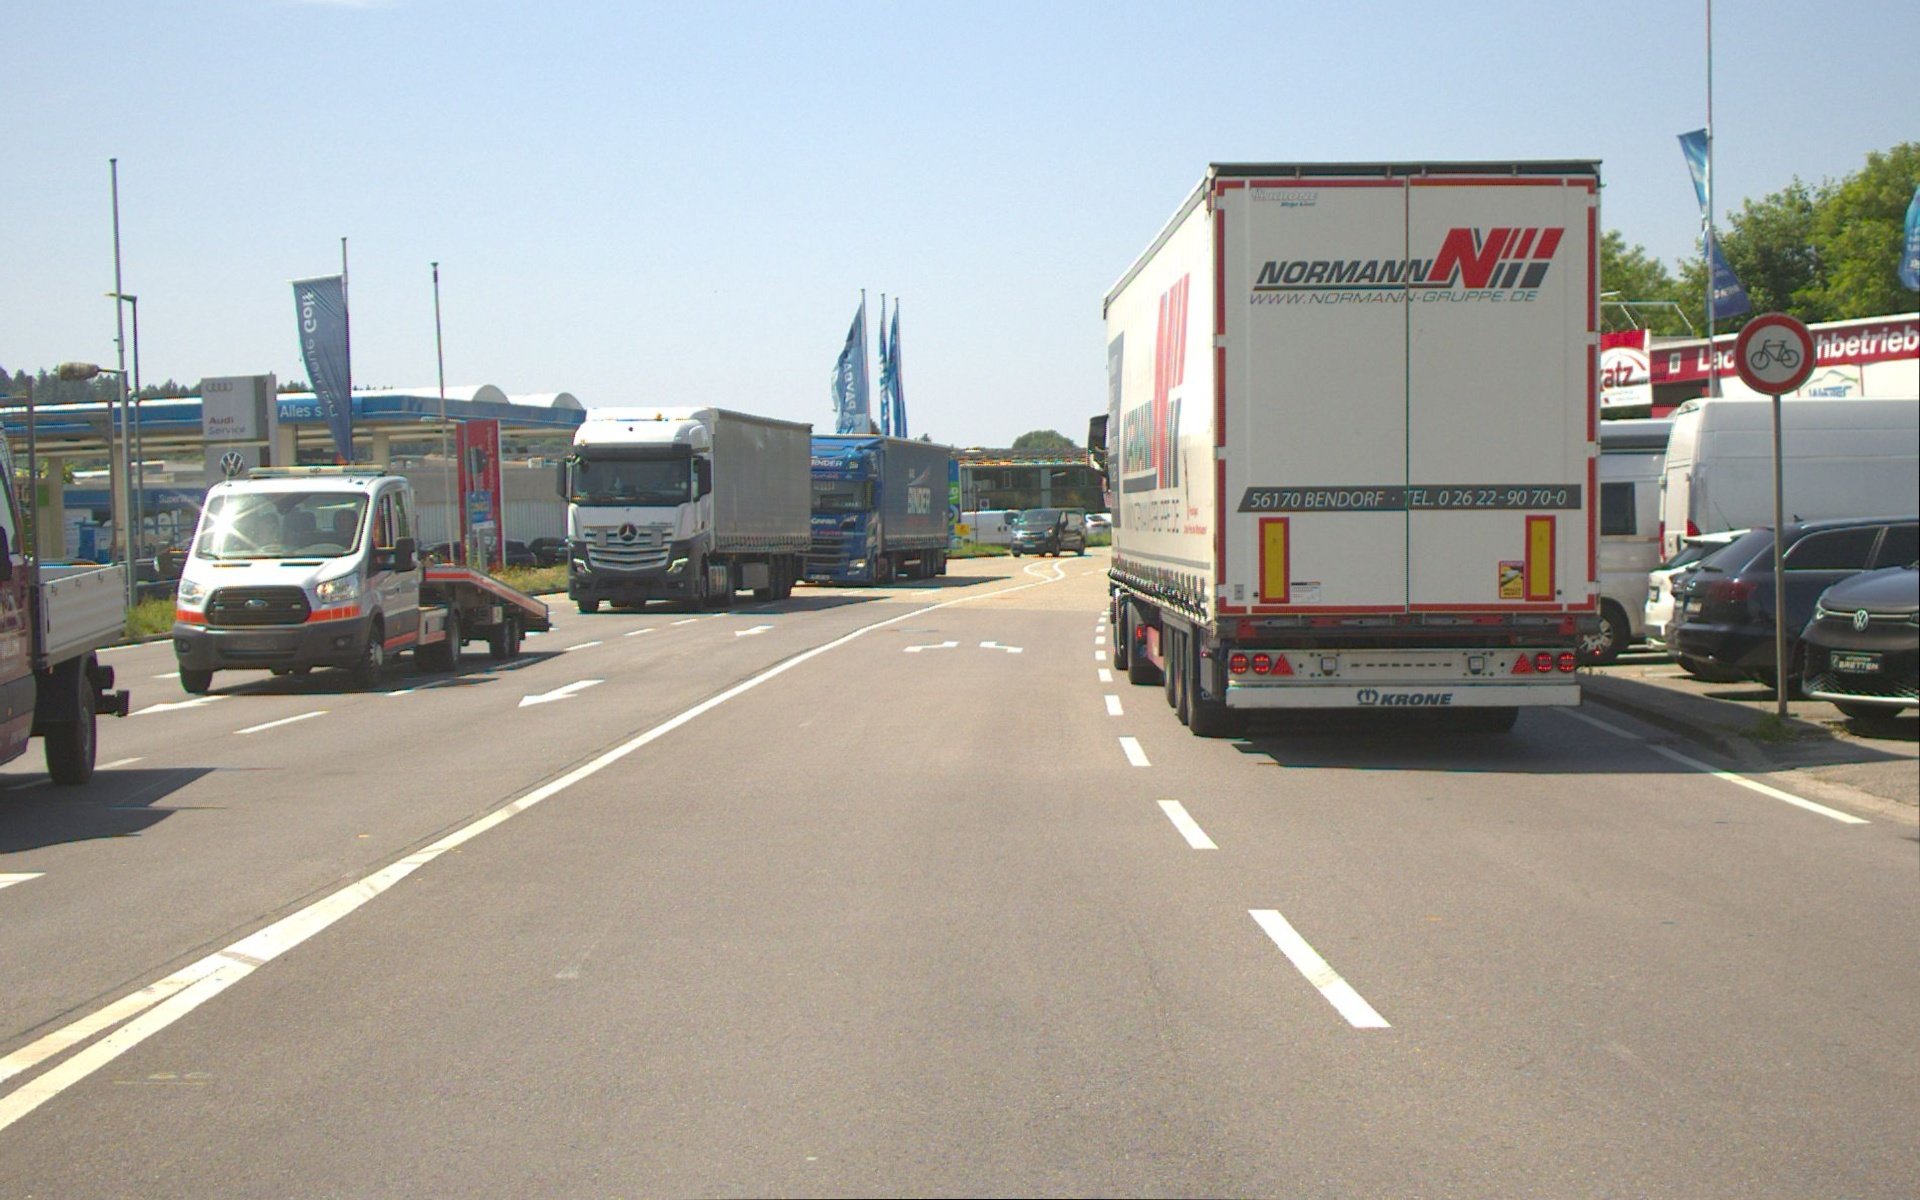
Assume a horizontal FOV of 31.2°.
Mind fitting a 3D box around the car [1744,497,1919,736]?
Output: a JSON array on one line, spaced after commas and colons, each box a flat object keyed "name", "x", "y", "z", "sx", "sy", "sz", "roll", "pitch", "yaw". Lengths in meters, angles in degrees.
[{"name": "car", "x": 8.084, "y": 0.025, "z": 24.866, "sx": 4.325, "sy": 1.619, "sz": 2.062, "roll": -3, "pitch": 1, "yaw": -26}]

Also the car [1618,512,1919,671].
[{"name": "car", "x": 8.543, "y": -0.107, "z": 33.698, "sx": 3.808, "sy": 1.494, "sz": 1.854, "roll": 0, "pitch": 1, "yaw": -1}]

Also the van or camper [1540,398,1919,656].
[{"name": "van or camper", "x": 9.370, "y": -0.827, "z": 38.309, "sx": 5.476, "sy": 2.720, "sz": 2.232, "roll": -1, "pitch": 1, "yaw": 3}]

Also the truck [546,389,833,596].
[{"name": "truck", "x": -5.400, "y": -2.136, "z": 72.826, "sx": 2.791, "sy": 3.875, "sz": 16.478, "roll": 0, "pitch": 1, "yaw": 7}]

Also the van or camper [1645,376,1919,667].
[{"name": "van or camper", "x": 10.032, "y": -0.843, "z": 35.865, "sx": 5.369, "sy": 2.895, "sz": 2.232, "roll": -1, "pitch": 1, "yaw": 3}]

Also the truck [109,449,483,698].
[{"name": "truck", "x": -6.936, "y": -0.329, "z": 36.685, "sx": 2.425, "sy": 2.332, "sz": 5.674, "roll": -3, "pitch": 1, "yaw": 4}]

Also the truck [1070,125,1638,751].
[{"name": "truck", "x": 2.849, "y": -1.238, "z": 31.241, "sx": 2.973, "sy": 4.079, "sz": 17.636, "roll": 0, "pitch": 1, "yaw": -1}]

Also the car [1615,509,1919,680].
[{"name": "car", "x": 8.378, "y": -0.078, "z": 31.516, "sx": 4.325, "sy": 1.494, "sz": 2.082, "roll": 0, "pitch": 1, "yaw": -1}]

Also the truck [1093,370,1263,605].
[{"name": "truck", "x": 3.994, "y": -2.021, "z": 63.635, "sx": 2.648, "sy": 3.793, "sz": 13.359, "roll": -2, "pitch": 1, "yaw": 3}]

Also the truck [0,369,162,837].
[{"name": "truck", "x": -6.358, "y": -0.015, "z": 19.877, "sx": 2.396, "sy": 2.436, "sz": 6.873, "roll": 0, "pitch": 1, "yaw": -4}]

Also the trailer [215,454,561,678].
[{"name": "trailer", "x": -6.655, "y": -0.438, "z": 41.021, "sx": 2.428, "sy": 2.330, "sz": 6.896, "roll": -3, "pitch": 1, "yaw": 4}]

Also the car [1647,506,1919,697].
[{"name": "car", "x": 8.018, "y": -0.025, "z": 28.196, "sx": 4.325, "sy": 1.494, "sz": 2.082, "roll": 0, "pitch": 1, "yaw": -1}]

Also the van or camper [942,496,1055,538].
[{"name": "van or camper", "x": 1.763, "y": -3.730, "z": 154.875, "sx": 4.849, "sy": 1.898, "sz": 1.903, "roll": 0, "pitch": 1, "yaw": 10}]

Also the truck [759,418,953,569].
[{"name": "truck", "x": -2.695, "y": -2.858, "z": 96.680, "sx": 2.845, "sy": 3.875, "sz": 17.001, "roll": 0, "pitch": 1, "yaw": 7}]
